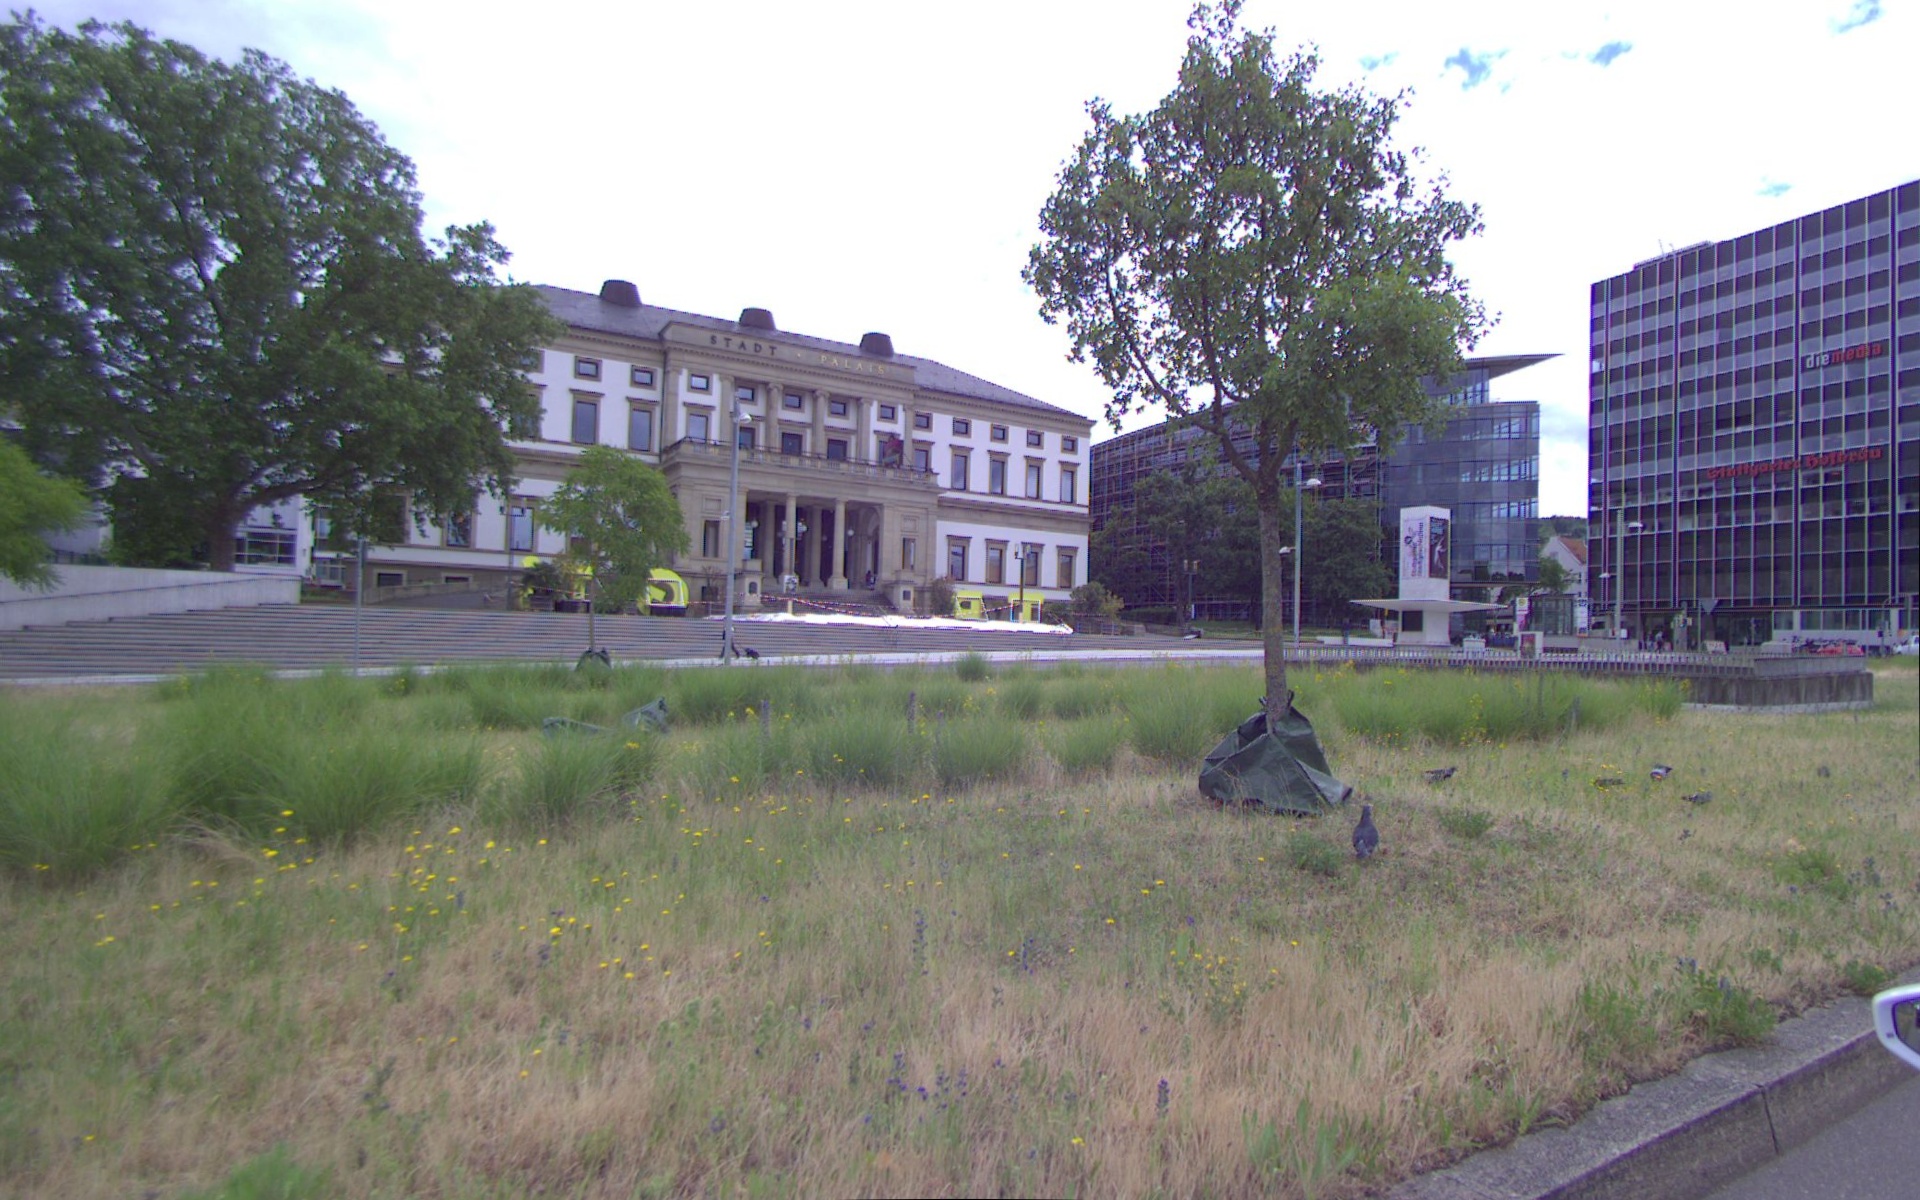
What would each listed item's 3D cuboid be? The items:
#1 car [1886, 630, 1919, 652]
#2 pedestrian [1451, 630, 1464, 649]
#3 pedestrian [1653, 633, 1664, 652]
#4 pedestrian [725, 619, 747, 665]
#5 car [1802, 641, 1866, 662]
[{"bbox_3d":[69.354,2.977,72.019,2.206,1.522,4.614,1,-1,10],"label":"car"},{"bbox_3d":[29.526,2.350,59.604,0.553,1.095,0.473,2,0,-29],"label":"pedestrian"},{"bbox_3d":[60.699,3.733,87.314,0.611,1.614,0.591,1,0,20],"label":"pedestrian"},{"bbox_3d":[-8.288,1.544,37.143,0.643,1.671,0.521,2,0,-31],"label":"pedestrian"},{"bbox_3d":[71.223,4.170,81.923,1.690,1.522,3.981,1,-1,0],"label":"car"}]
